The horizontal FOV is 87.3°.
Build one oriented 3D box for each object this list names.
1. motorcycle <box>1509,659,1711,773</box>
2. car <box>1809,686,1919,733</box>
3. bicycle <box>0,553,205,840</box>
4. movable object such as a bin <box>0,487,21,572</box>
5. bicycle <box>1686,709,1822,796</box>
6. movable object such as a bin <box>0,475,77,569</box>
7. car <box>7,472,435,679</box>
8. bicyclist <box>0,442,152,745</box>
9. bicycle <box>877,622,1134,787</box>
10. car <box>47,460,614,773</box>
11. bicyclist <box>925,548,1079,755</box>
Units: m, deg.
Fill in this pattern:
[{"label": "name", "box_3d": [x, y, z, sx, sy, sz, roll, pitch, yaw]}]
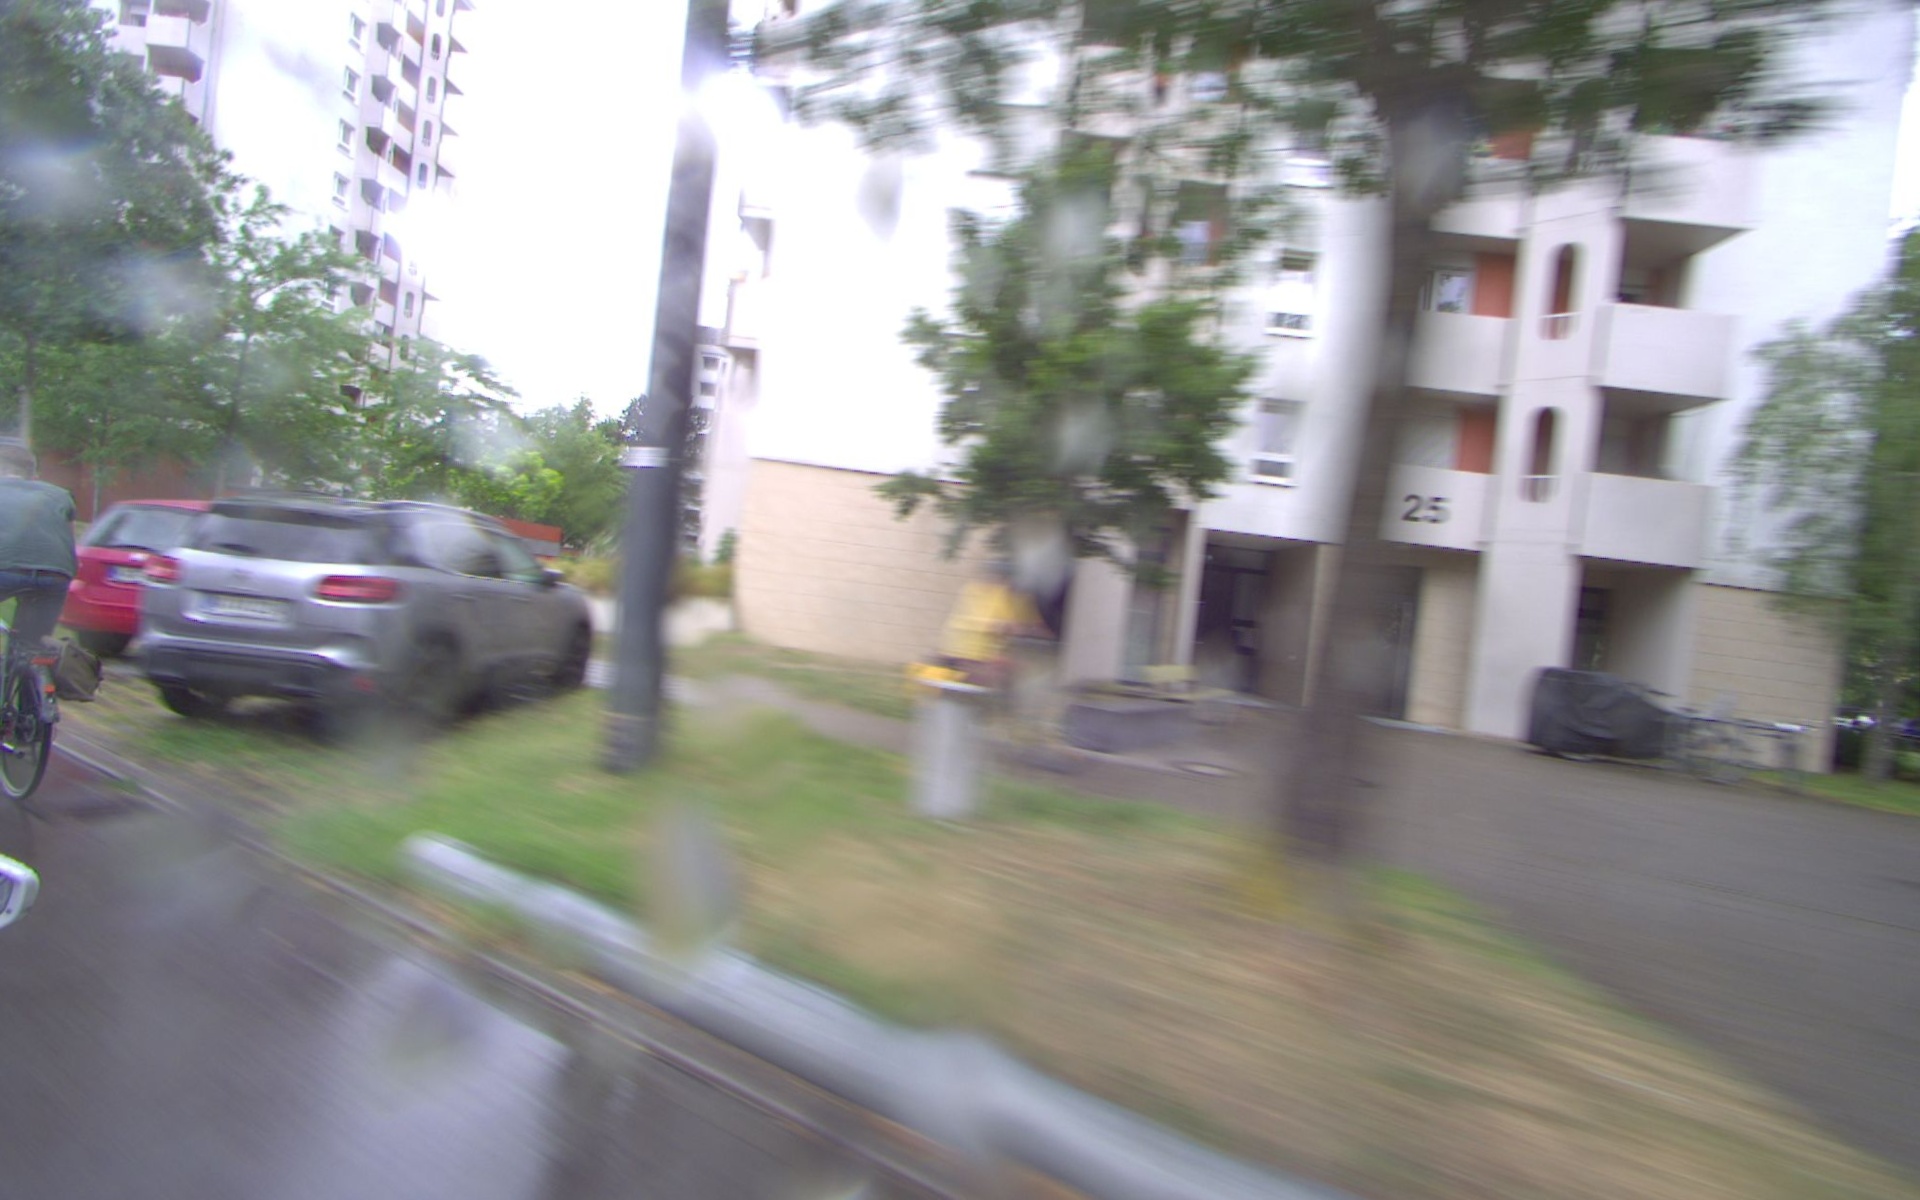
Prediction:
[{"label": "motorcycle", "box_3d": [9.316, 1.647, 14.477, 2.262, 1.305, 0.884, 7, 1, -6]}, {"label": "car", "box_3d": [44.938, 5.411, 49.669, 4.170, 1.700, 1.883, 7, 1, 5]}, {"label": "bicycle", "box_3d": [-5.045, 0.379, 5.245, 2.474, 1.111, 0.810, 7, 1, 30]}, {"label": "movable object such as a bin", "box_3d": [-16.076, -1.186, 15.597, 1.374, 1.344, 1.685, 7, 3, 11]}, {"label": "bicycle", "box_3d": [10.449, 2.001, 13.245, 1.439, 0.937, 0.408, 6, 2, -6]}, {"label": "movable object such as a bin", "box_3d": [-16.637, -1.392, 17.643, 1.068, 1.540, 1.247, 6, 2, 5]}, {"label": "car", "box_3d": [-7.330, -0.282, 10.539, 1.701, 1.588, 3.880, 6, 2, -4]}, {"label": "bicyclist", "box_3d": [-4.963, -0.067, 5.205, 1.042, 1.451, 0.810, 7, 2, 30]}, {"label": "bicycle", "box_3d": [0.362, 0.846, 8.689, 2.017, 1.070, 0.735, 7, 2, 32]}, {"label": "car", "box_3d": [-4.654, 0.021, 8.342, 1.963, 1.742, 4.142, 7, 3, 0]}, {"label": "bicyclist", "box_3d": [0.368, 0.425, 8.695, 0.929, 1.614, 0.735, 7, 2, 32]}]
